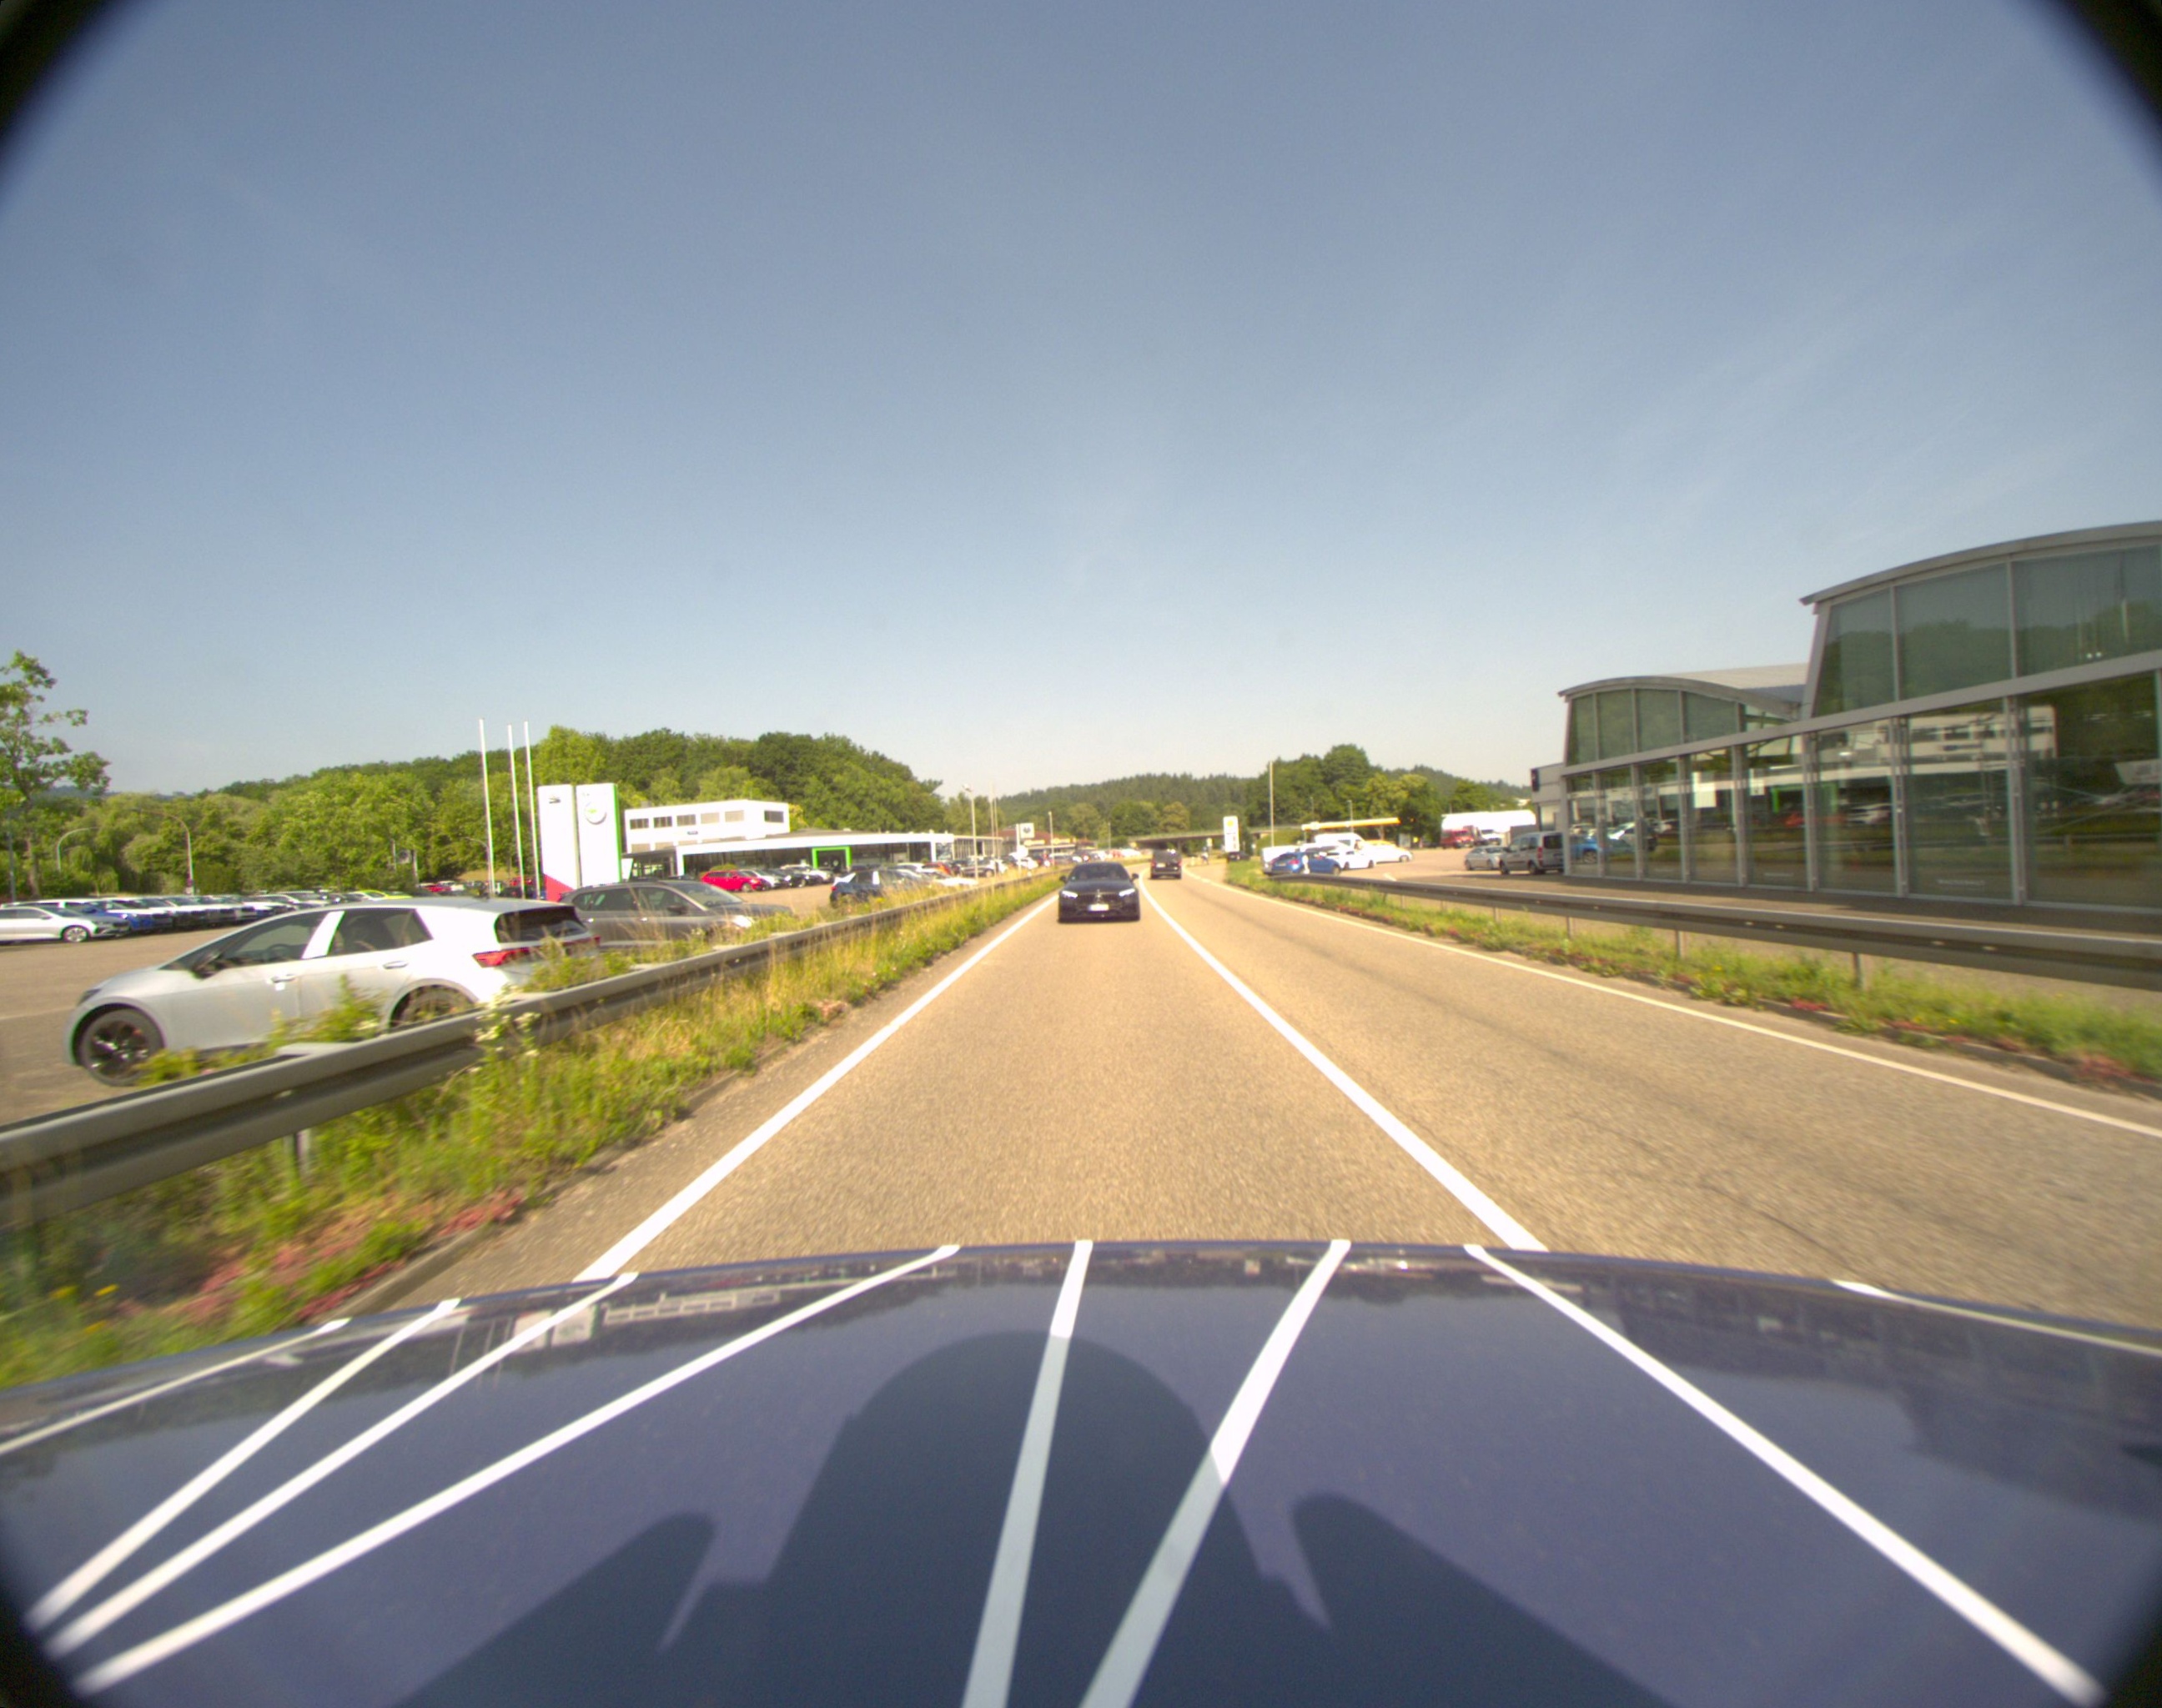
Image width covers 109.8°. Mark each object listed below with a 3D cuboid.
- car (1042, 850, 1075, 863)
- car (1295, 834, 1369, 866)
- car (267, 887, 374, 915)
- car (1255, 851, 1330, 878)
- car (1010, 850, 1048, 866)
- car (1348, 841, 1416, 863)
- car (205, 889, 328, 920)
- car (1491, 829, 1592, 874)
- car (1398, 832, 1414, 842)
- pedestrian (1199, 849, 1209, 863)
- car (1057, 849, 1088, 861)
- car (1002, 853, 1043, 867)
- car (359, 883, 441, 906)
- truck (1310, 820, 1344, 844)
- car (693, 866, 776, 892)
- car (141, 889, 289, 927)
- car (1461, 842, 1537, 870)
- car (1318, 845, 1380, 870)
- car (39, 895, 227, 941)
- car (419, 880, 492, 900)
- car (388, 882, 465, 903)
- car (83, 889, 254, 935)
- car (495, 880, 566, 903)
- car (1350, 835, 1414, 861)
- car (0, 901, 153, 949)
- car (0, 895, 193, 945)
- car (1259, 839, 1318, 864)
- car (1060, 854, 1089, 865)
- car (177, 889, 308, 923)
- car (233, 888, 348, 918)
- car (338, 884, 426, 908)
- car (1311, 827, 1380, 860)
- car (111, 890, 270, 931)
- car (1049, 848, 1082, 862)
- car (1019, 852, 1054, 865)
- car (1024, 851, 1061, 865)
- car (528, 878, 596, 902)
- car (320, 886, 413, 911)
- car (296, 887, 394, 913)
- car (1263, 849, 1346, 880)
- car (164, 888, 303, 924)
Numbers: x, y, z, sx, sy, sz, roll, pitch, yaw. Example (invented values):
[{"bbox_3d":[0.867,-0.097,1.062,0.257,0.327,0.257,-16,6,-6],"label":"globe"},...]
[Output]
[{"bbox_3d":[-2.806,0.330,95.900,3.844,1.450,1.747,-2,1,12],"label":"car"},{"bbox_3d":[18.975,-0.278,57.709,4.802,1.970,2.229,-5,0,5],"label":"car"},{"bbox_3d":[-51.142,3.144,51.235,4.755,1.537,1.774,-2,1,-18],"label":"car"},{"bbox_3d":[12.429,0.600,44.531,4.402,1.359,1.849,-2,0,-35],"label":"car"},{"bbox_3d":[-5.800,0.427,84.933,3.884,1.654,1.842,-1,1,14],"label":"car"},{"bbox_3d":[23.631,-0.144,59.785,4.475,1.390,1.967,-4,0,5],"label":"car"},{"bbox_3d":[-49.442,3.044,46.251,4.756,1.537,1.773,-2,1,-20],"label":"car"},{"bbox_3d":[19.141,-0.077,31.838,1.809,1.703,4.410,-3,-1,6],"label":"car"},{"bbox_3d":[58.410,-2.982,136.606,1.905,1.633,4.007,-3,0,34],"label":"car"},{"bbox_3d":[15.168,0.233,93.734,0.848,1.680,1.145,-2,1,25],"label":"pedestrian"},{"bbox_3d":[-1.149,0.105,105.266,3.994,1.444,1.952,-2,1,10],"label":"car"},{"bbox_3d":[-6.407,0.646,82.760,4.041,1.477,1.724,-1,1,14],"label":"car"},{"bbox_3d":[-55.157,3.282,61.620,4.750,1.537,1.775,-2,1,-6],"label":"car"},{"bbox_3d":[44.554,-3.986,137.230,3.055,4.110,16.799,-2,1,27],"label":"truck"},{"bbox_3d":[-23.297,1.701,51.178,4.745,1.556,1.932,-1,1,8],"label":"car"},{"bbox_3d":[-45.550,2.817,40.115,4.756,1.625,1.928,-2,1,-22],"label":"car"},{"bbox_3d":[22.823,0.128,41.734,1.809,1.378,4.833,-3,-1,5],"label":"car"},{"bbox_3d":[18.478,0.239,52.351,4.237,1.395,1.893,-4,1,-35],"label":"car"},{"bbox_3d":[-41.534,2.769,33.465,4.757,1.579,1.928,-2,1,-24],"label":"car"},{"bbox_3d":[-55.130,3.191,67.016,4.749,1.537,1.776,-2,1,-2],"label":"car"},{"bbox_3d":[-55.427,3.275,64.397,4.749,1.537,1.776,-2,1,-2],"label":"car"},{"bbox_3d":[-42.830,2.674,35.816,4.755,1.770,1.928,-2,1,-19],"label":"car"},{"bbox_3d":[-43.626,2.954,60.345,1.837,1.537,4.465,-1,1,10],"label":"car"},{"bbox_3d":[24.604,-0.480,62.301,4.390,1.797,2.002,-5,0,5],"label":"car"},{"bbox_3d":[-39.246,2.700,28.772,4.758,1.450,1.927,-2,1,-27],"label":"car"},{"bbox_3d":[-40.549,2.673,31.256,4.758,1.579,1.927,-2,1,-27],"label":"car"},{"bbox_3d":[18.712,-0.242,68.664,4.681,1.847,2.144,-4,0,5],"label":"car"},{"bbox_3d":[-0.867,0.790,107.292,3.737,1.398,1.824,-2,1,10],"label":"car"},{"bbox_3d":[-48.532,2.986,44.131,4.756,1.537,1.773,-2,1,-22],"label":"car"},{"bbox_3d":[-50.476,3.090,48.614,4.755,1.537,1.773,-2,1,-19],"label":"car"},{"bbox_3d":[-54.279,3.259,59.065,4.752,1.537,1.775,-2,1,-10],"label":"car"},{"bbox_3d":[25.384,-1.008,73.060,5.732,2.729,2.286,-4,1,6],"label":"car"},{"bbox_3d":[-44.340,2.784,37.988,4.756,1.625,1.928,-2,1,-21],"label":"car"},{"bbox_3d":[-2.075,0.146,101.584,3.992,1.622,1.923,-2,1,15],"label":"car"},{"bbox_3d":[-5.197,0.536,88.711,3.738,1.450,1.666,-2,1,11],"label":"car"},{"bbox_3d":[-4.654,0.424,91.561,4.090,1.543,1.782,-2,1,11],"label":"car"},{"bbox_3d":[-40.872,2.827,59.993,1.837,1.537,4.465,-1,1,8],"label":"car"},{"bbox_3d":[-53.290,3.295,56.748,4.752,1.537,1.774,-2,1,-11],"label":"car"},{"bbox_3d":[-52.451,3.263,54.247,4.753,1.537,1.837,-2,1,-12],"label":"car"},{"bbox_3d":[12.020,0.555,40.789,4.239,1.498,1.980,-2,0,-35],"label":"car"},{"bbox_3d":[-47.084,2.850,42.356,4.756,1.625,1.928,-2,1,-21],"label":"car"}]
